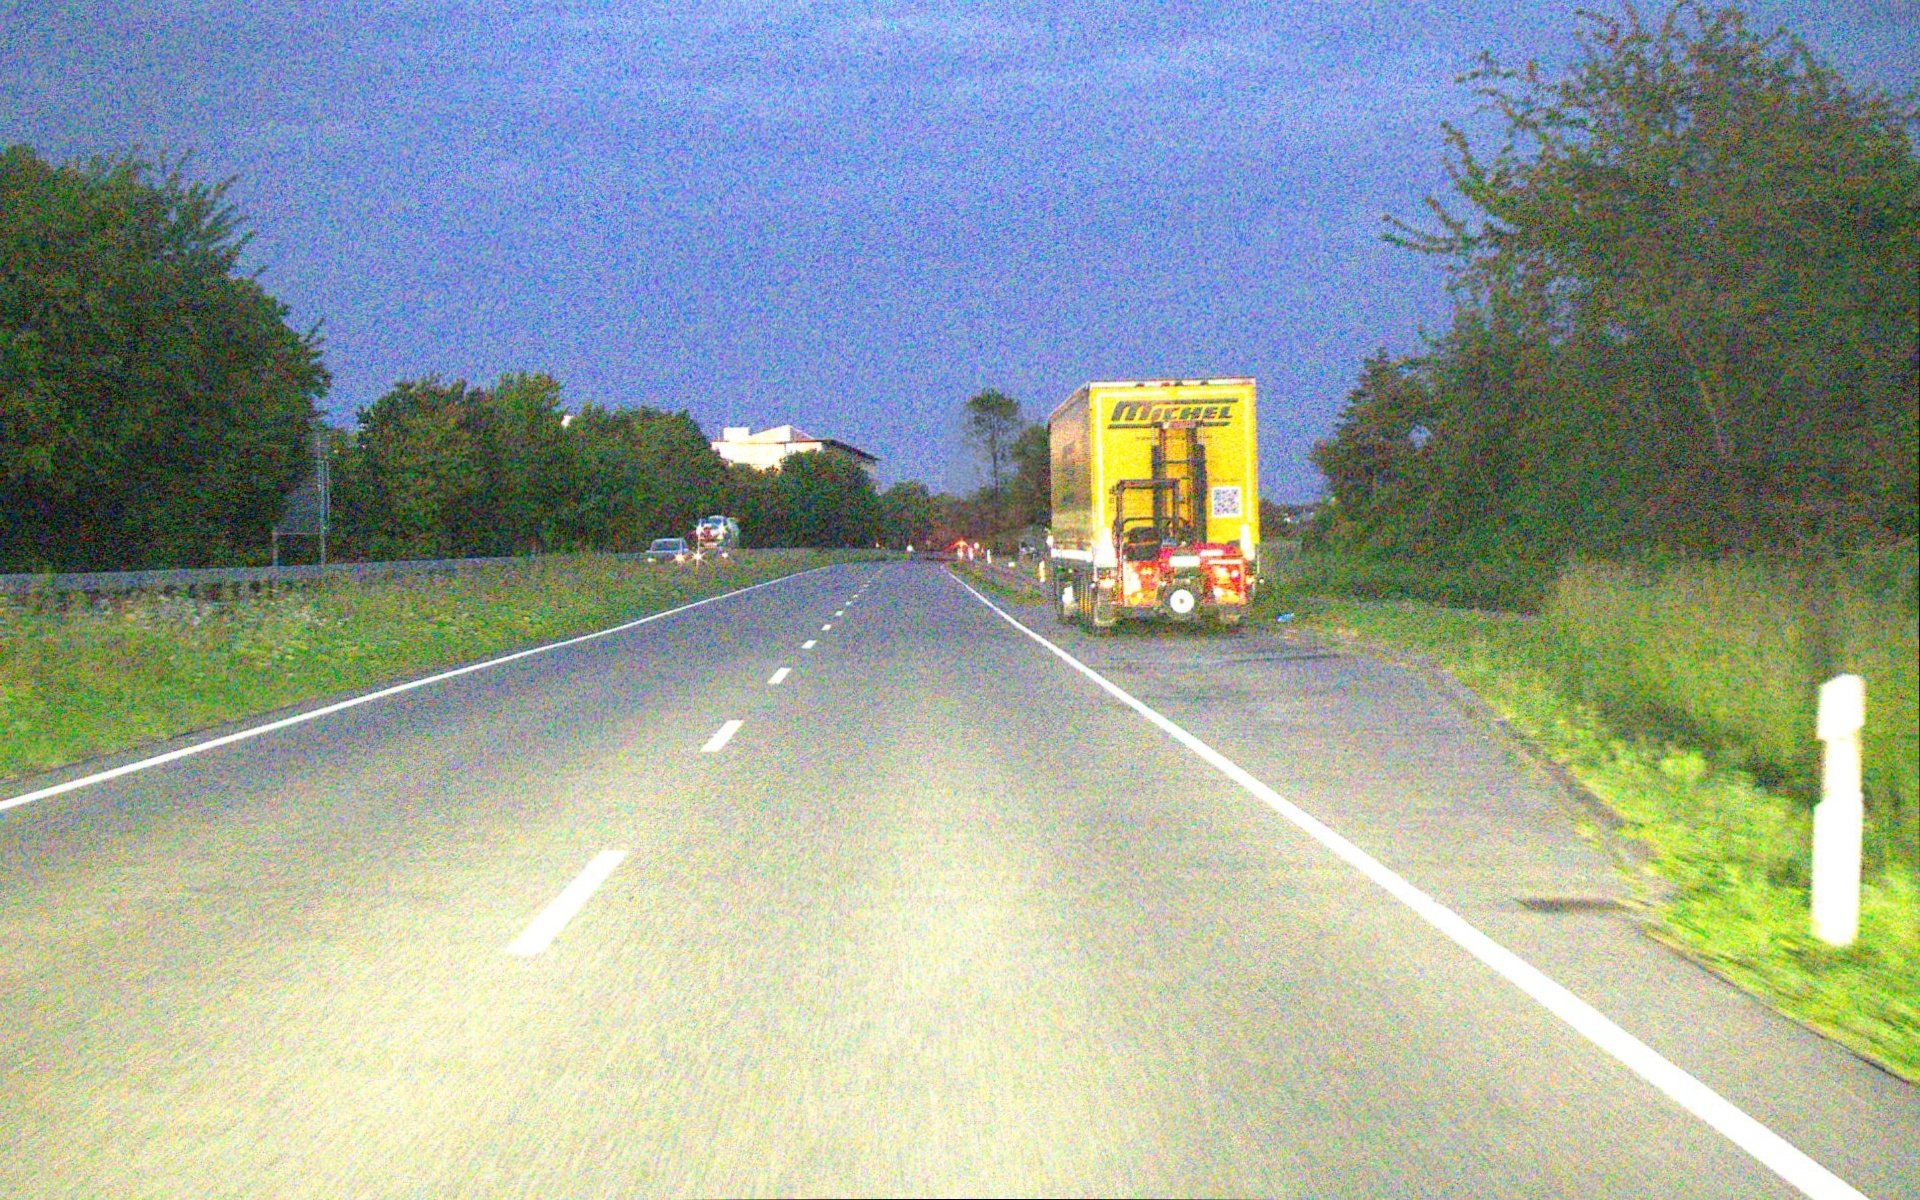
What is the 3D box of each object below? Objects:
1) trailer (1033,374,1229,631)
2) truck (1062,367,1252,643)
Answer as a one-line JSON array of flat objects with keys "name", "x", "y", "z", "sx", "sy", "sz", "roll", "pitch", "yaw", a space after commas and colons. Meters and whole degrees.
[{"name": "trailer", "x": 2.885, "y": -1.683, "z": 61.673, "sx": 2.622, "sy": 4.090, "sz": 12.938, "roll": -1, "pitch": 1, "yaw": -1}, {"name": "truck", "x": 3.016, "y": -1.496, "z": 54.087, "sx": 2.579, "sy": 4.057, "sz": 6.130, "roll": 1, "pitch": 2, "yaw": 0}]
